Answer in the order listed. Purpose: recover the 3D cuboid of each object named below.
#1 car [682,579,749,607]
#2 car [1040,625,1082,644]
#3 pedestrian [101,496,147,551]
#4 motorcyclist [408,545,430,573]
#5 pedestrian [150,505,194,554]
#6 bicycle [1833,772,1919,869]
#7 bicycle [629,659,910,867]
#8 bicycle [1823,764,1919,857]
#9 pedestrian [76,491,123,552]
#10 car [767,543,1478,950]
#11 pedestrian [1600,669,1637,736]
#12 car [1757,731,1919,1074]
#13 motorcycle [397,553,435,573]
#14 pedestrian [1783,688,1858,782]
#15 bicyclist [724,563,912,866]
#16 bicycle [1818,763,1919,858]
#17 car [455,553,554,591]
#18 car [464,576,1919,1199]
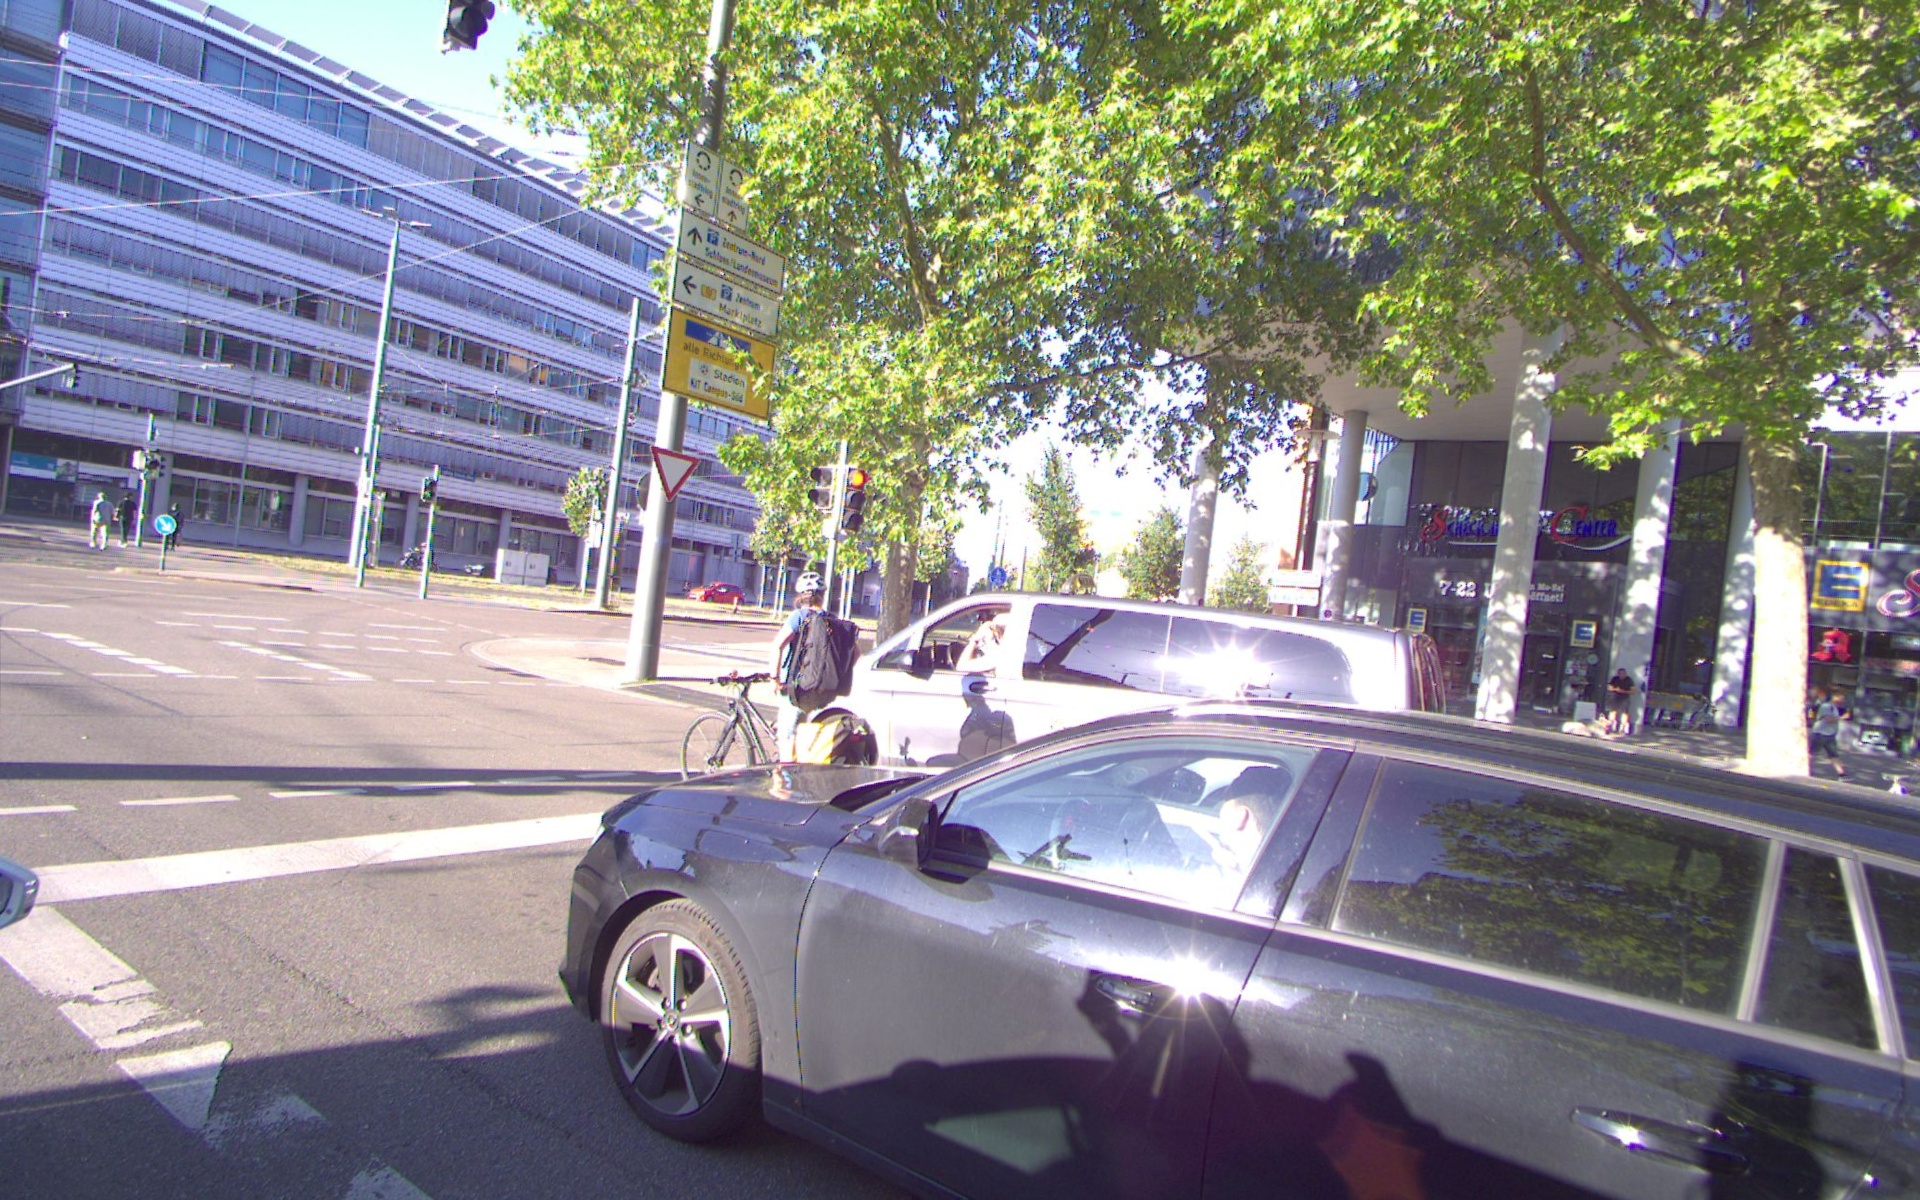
[{"bbox_3d":[-15.943,-0.438,65.768,1.758,1.411,3.984,7,1,37],"label":"car"},{"bbox_3d":[9.559,3.296,95.109,1.758,1.353,4.605,7,0,37],"label":"car"},{"bbox_3d":[-28.626,-2.614,34.461,1.020,1.706,0.912,7,1,39],"label":"pedestrian"},{"bbox_3d":[-27.186,-2.064,50.558,0.452,1.291,0.712,7,1,36],"label":"motorcyclist"},{"bbox_3d":[-27.810,-2.482,35.510,0.883,1.583,0.947,7,1,39],"label":"pedestrian"},{"bbox_3d":[10.538,2.477,11.098,1.233,0.898,0.462,7,1,32],"label":"bicycle"},{"bbox_3d":[-1.293,1.007,6.634,1.839,0.993,0.561,7,1,32],"label":"bicycle"},{"bbox_3d":[11.495,2.605,12.357,0.460,0.938,1.210,6,0,-39],"label":"bicycle"},{"bbox_3d":[-27.890,-2.551,32.611,0.858,1.811,0.863,7,1,36],"label":"pedestrian"},{"bbox_3d":[1.107,0.840,7.935,5.012,2.004,1.939,7,0,31],"label":"car"},{"bbox_3d":[17.559,2.742,26.824,0.598,1.707,0.511,6,1,-41],"label":"pedestrian"},{"bbox_3d":[6.528,1.736,4.605,4.181,1.503,1.741,7,0,31],"label":"car"},{"bbox_3d":[-27.272,-1.836,50.471,0.460,0.820,1.568,7,0,36],"label":"motorcycle"},{"bbox_3d":[18.048,2.822,21.117,0.596,1.805,0.881,6,1,-29],"label":"pedestrian"},{"bbox_3d":[-0.886,0.685,6.324,0.766,1.714,0.632,7,1,32],"label":"bicyclist"},{"bbox_3d":[11.197,2.543,12.084,0.437,0.930,1.210,6,0,-39],"label":"bicycle"},{"bbox_3d":[-23.169,-1.419,51.291,1.758,1.415,4.157,7,0,37],"label":"car"},{"bbox_3d":[0.777,0.928,2.747,4.199,1.431,1.742,7,-2,32],"label":"car"}]
